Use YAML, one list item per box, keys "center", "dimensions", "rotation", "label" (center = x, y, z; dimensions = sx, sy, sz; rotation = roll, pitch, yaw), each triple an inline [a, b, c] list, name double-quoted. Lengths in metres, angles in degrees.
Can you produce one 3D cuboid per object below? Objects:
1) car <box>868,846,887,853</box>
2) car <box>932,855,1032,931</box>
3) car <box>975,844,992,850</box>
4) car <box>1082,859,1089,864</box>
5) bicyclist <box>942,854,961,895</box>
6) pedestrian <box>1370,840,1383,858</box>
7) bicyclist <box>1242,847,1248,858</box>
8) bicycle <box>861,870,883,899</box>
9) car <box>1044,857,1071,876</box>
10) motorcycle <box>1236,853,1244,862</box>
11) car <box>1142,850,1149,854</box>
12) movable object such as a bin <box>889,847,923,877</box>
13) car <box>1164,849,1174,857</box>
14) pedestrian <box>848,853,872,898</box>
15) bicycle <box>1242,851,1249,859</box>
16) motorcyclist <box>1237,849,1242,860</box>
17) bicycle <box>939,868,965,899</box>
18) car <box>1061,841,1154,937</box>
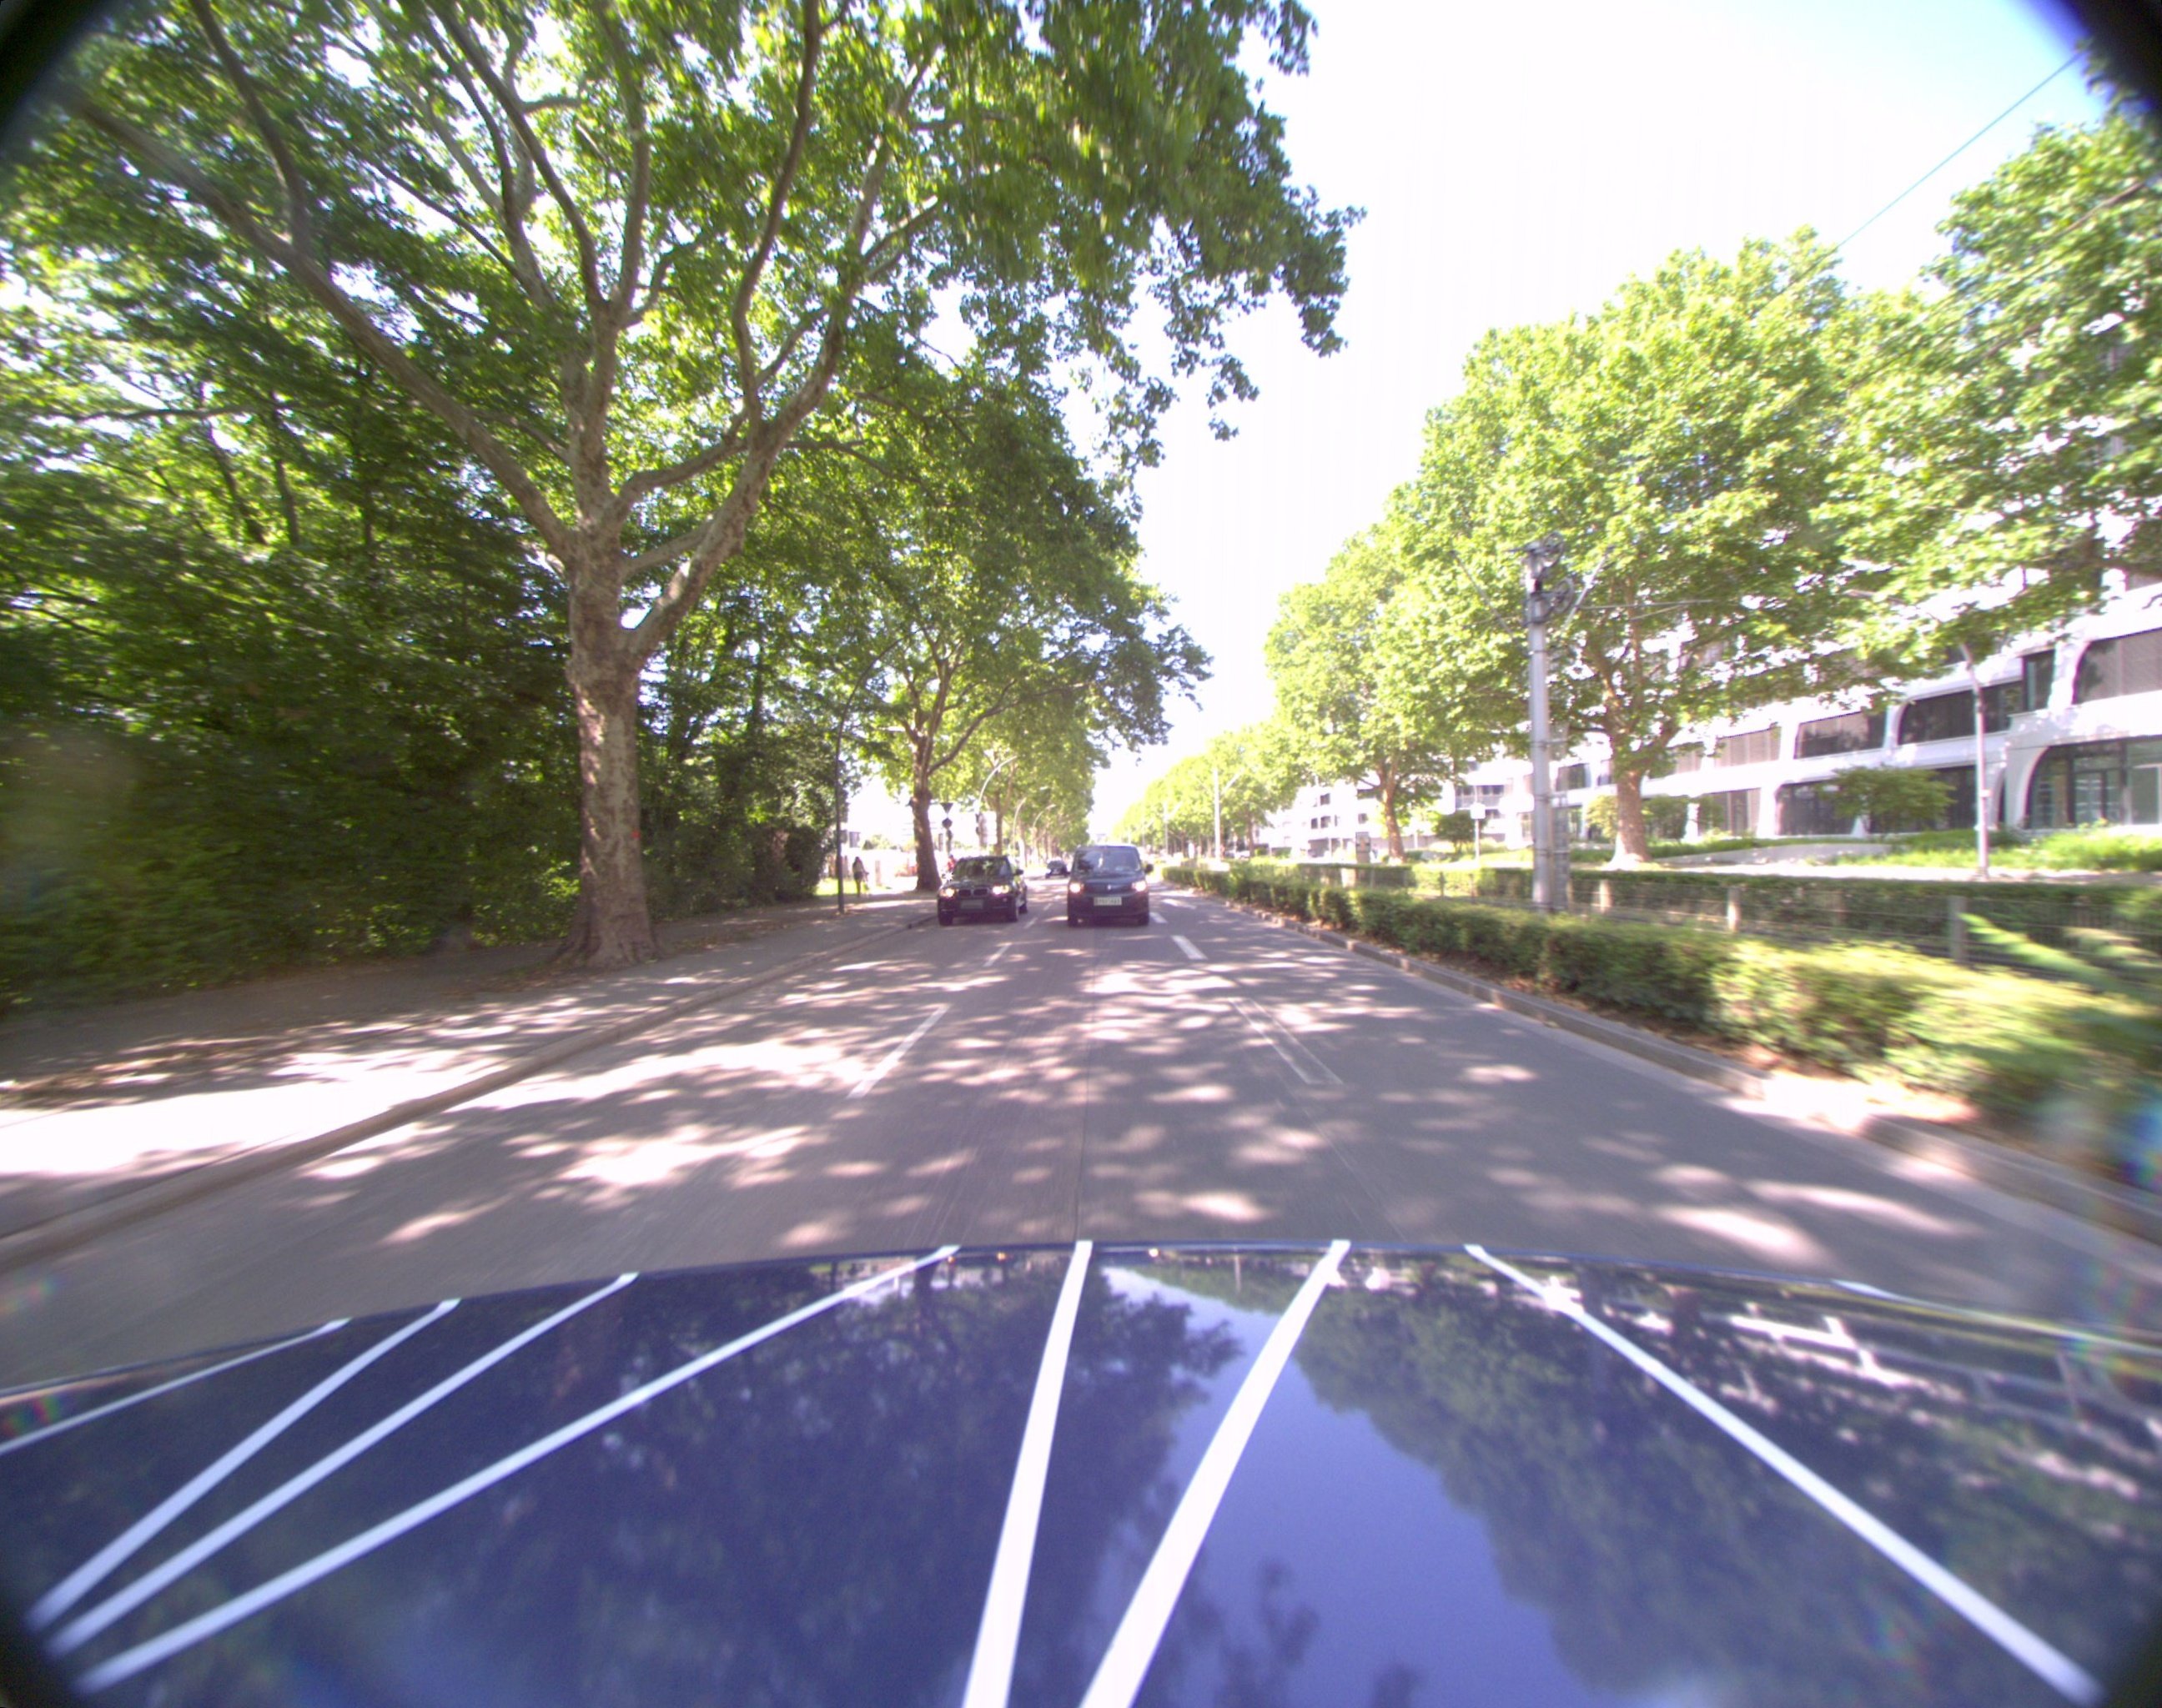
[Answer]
- center: [-50.761, -1.089, 189.554]
  dimensions: [3.998, 1.501, 1.808]
  rotation: [-2, 0, -2]
  label: "car"
- center: [-2.493, 0.926, 20.144]
  dimensions: [1.924, 1.720, 4.152]
  rotation: [-3, 0, 1]
  label: "car"
- center: [-24.259, -1.716, 189.678]
  dimensions: [3.998, 1.501, 1.808]
  rotation: [-2, 0, -2]
  label: "car"
- center: [1.406, 2.277, 239.400]
  dimensions: [1.860, 1.445, 4.000]
  rotation: [-2, 0, 0]
  label: "car"
- center: [-5.092, 0.805, 29.986]
  dimensions: [0.621, 1.590, 0.732]
  rotation: [0, 0, 0]
  label: "bicyclist"
- center: [26.946, -0.468, 69.334]
  dimensions: [0.722, 1.579, 1.015]
  rotation: [-2, 1, 2]
  label: "pedestrian"
- center: [23.959, -0.225, 110.900]
  dimensions: [0.656, 1.526, 0.641]
  rotation: [-2, 0, 2]
  label: "bicyclist"
- center: [-8.512, 1.237, 30.968]
  dimensions: [0.350, 1.075, 1.699]
  rotation: [-2, 0, 1]
  label: "bicycle"
- center: [-1.875, 0.984, 61.593]
  dimensions: [1.854, 1.418, 4.152]
  rotation: [-3, 0, 2]
  label: "car"
- center: [20.101, 0.448, 96.211]
  dimensions: [0.634, 1.168, 2.000]
  rotation: [-2, 0, 2]
  label: "motorcycle"
- center: [20.336, -0.601, 240.047]
  dimensions: [1.820, 1.482, 3.912]
  rotation: [0, 0, 0]
  label: "car"
- center: [-19.072, 0.829, 83.037]
  dimensions: [2.375, 3.054, 5.985]
  rotation: [-2, 0, -1]
  label: "movable object such as a bin"
- center: [19.862, -0.223, 171.888]
  dimensions: [1.761, 1.560, 4.019]
  rotation: [-2, 0, 2]
  label: "car"
- center: [-8.931, 0.864, 30.734]
  dimensions: [0.633, 1.775, 0.874]
  rotation: [-2, 1, 1]
  label: "pedestrian"
- center: [23.972, 0.147, 110.841]
  dimensions: [0.665, 1.117, 2.031]
  rotation: [-2, 0, 2]
  label: "bicycle"
- center: [20.091, 0.046, 96.334]
  dimensions: [0.582, 1.449, 0.533]
  rotation: [-2, 1, 2]
  label: "motorcyclist"
- center: [-5.094, 1.158, 30.003]
  dimensions: [0.653, 1.123, 1.945]
  rotation: [0, 0, 1]
  label: "bicycle"
- center: [0.595, 0.683, 16.864]
  dimensions: [1.789, 1.839, 4.000]
  rotation: [-1, 0, 2]
  label: "car"
